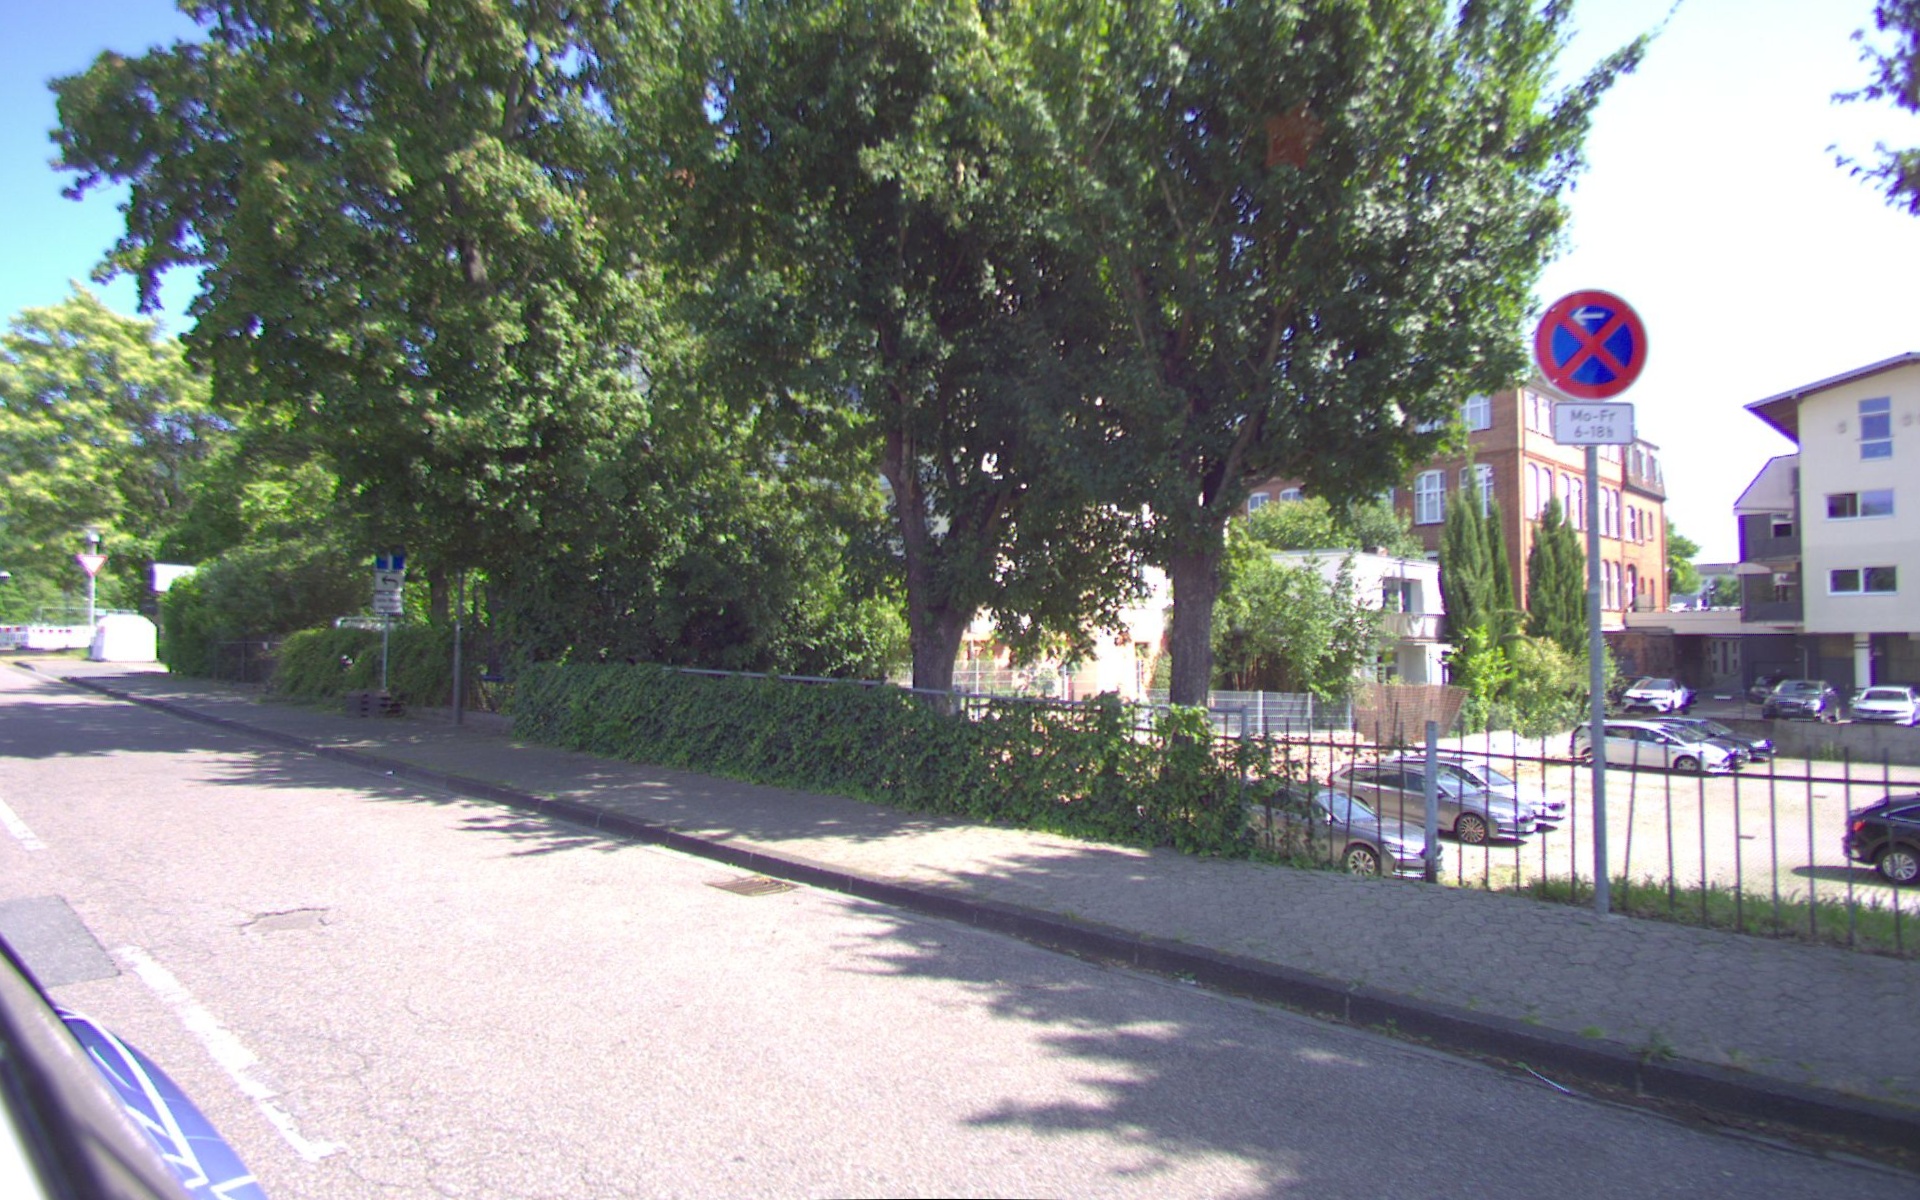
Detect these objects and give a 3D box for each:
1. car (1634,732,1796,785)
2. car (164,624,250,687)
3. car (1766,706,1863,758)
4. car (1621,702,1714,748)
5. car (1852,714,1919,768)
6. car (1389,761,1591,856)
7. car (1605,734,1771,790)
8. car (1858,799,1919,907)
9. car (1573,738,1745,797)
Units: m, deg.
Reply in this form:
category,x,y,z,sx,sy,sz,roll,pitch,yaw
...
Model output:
category,x,y,z,sx,sy,sz,roll,pitch,yaw
car,28.496,5.937,38.327,1.794,1.690,4.609,6,-7,-40
car,-26.578,1.911,35.645,1.969,1.945,5.109,6,-4,-40
car,33.691,5.142,39.879,4.528,1.690,2.120,3,-3,-39
car,30.613,5.346,43.731,4.528,1.690,2.120,3,-3,-39
car,35.414,5.268,38.008,4.528,1.690,2.120,3,-4,-39
car,13.031,5.063,25.048,1.969,1.697,4.005,6,-5,-42
car,26.656,5.889,37.194,1.794,1.690,4.609,6,-7,-40
car,18.700,4.682,17.913,1.969,1.697,4.005,6,-5,-42
car,24.434,5.822,35.535,1.794,1.690,4.609,6,-7,-40
